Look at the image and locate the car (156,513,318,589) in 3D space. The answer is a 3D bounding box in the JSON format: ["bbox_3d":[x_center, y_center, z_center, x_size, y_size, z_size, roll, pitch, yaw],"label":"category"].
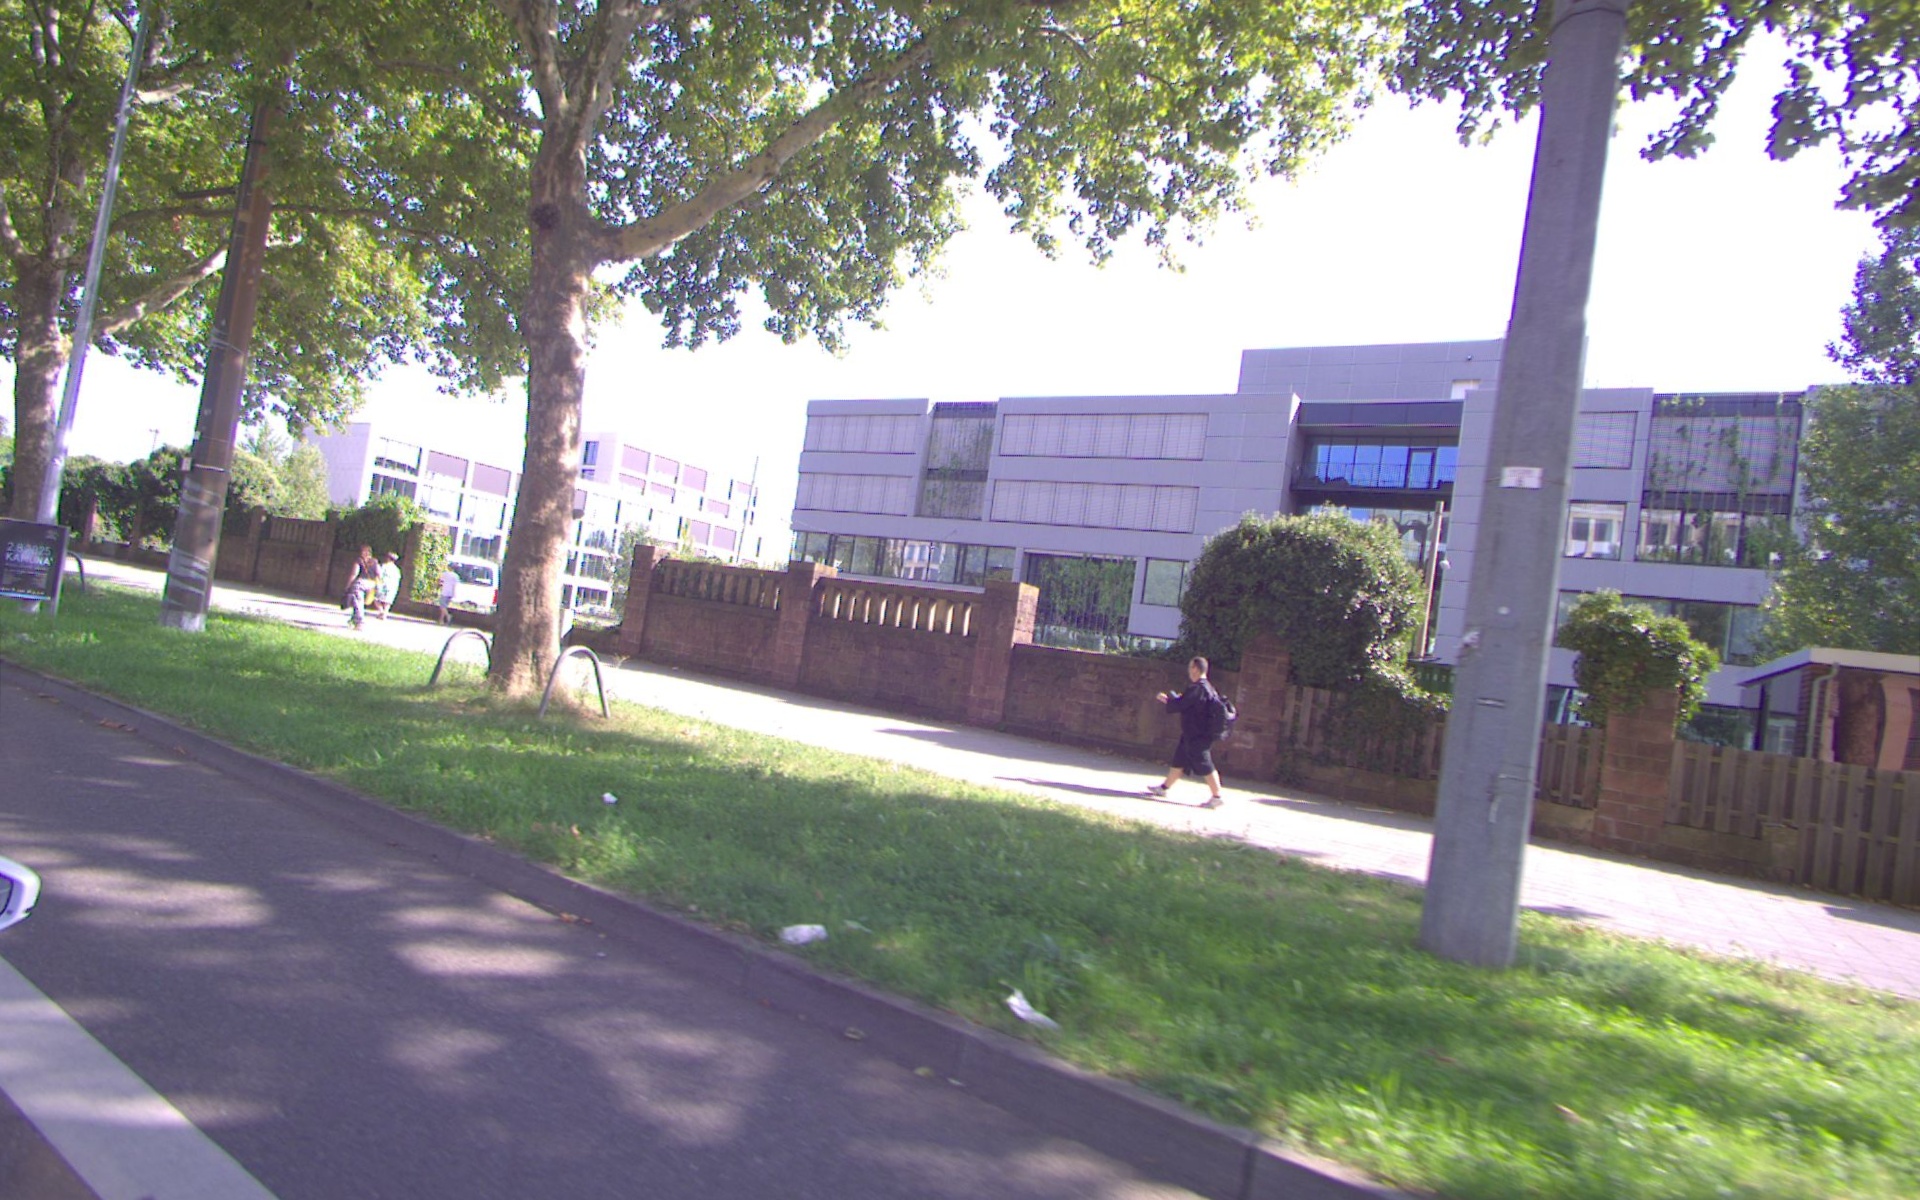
[{"bbox_3d":[-31.476,-2.084,43.951,2.097,2.395,5.138,7,-3,36],"label":"car"}]

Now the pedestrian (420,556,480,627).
[{"bbox_3d":[-12.614,-0.209,24.903,0.932,1.623,0.807,7,-1,33],"label":"pedestrian"}]

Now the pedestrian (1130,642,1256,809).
[{"bbox_3d":[2.670,1.412,11.517,0.995,1.706,0.820,7,-1,32],"label":"pedestrian"}]

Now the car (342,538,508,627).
[{"bbox_3d":[-19.125,-0.574,36.191,2.022,2.342,4.676,6,-5,32],"label":"car"}]

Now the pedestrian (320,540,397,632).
[{"bbox_3d":[-11.819,-0.266,19.765,0.932,1.655,0.807,7,-1,33],"label":"pedestrian"}]

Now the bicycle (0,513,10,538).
[{"bbox_3d":[-39.642,-3.122,40.662,0.498,0.981,1.658,7,-1,33],"label":"bicycle"}]

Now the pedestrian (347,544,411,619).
[{"bbox_3d":[-13.715,-0.428,23.765,0.932,1.623,0.807,7,-1,33],"label":"pedestrian"}]
